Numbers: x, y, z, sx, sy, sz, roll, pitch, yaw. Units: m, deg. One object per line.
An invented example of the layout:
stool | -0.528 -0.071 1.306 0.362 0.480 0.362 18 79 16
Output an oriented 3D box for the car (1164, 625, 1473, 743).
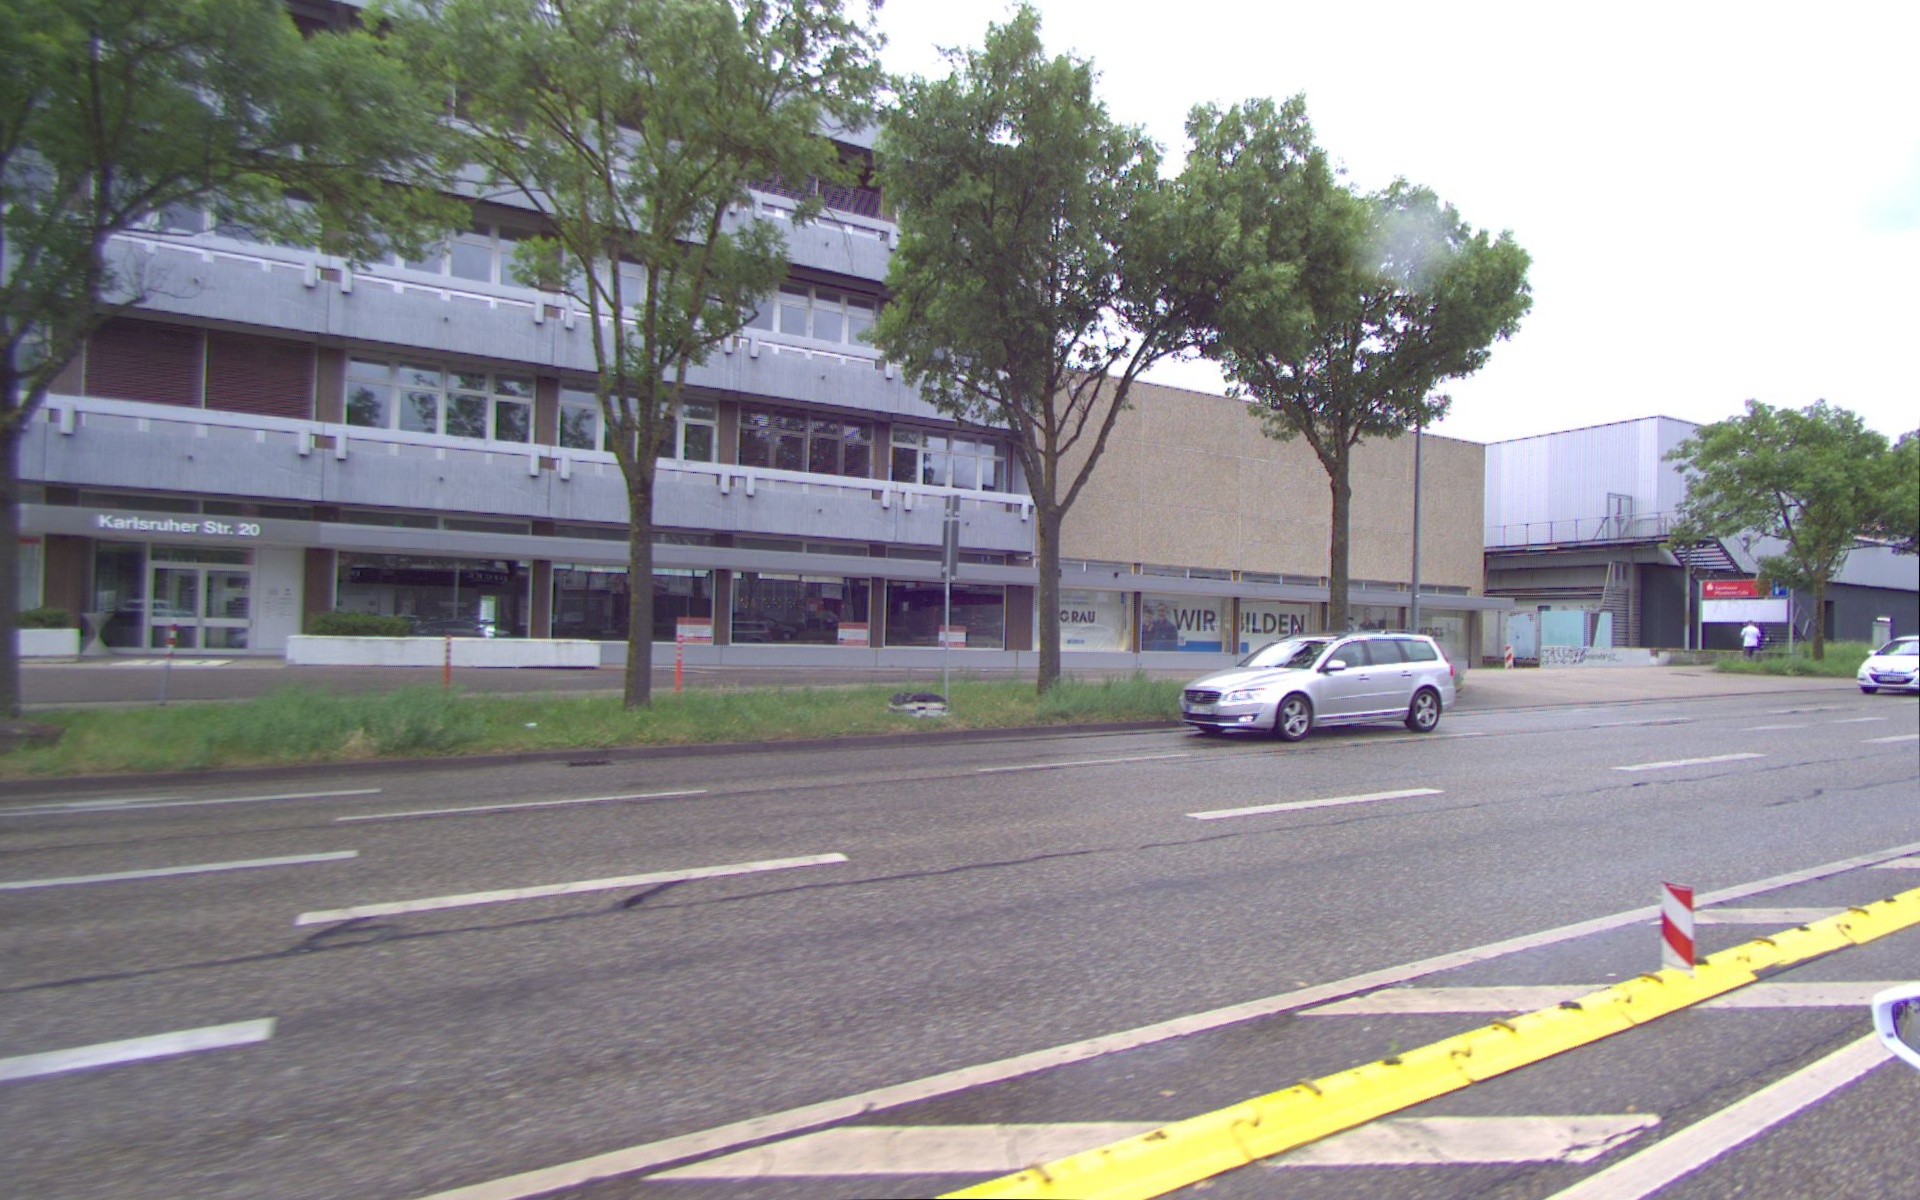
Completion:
car | 5.518 1.183 15.319 4.722 1.573 1.734 1 -3 -29

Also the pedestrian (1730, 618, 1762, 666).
pedestrian | 26.513 1.412 33.879 0.757 1.605 0.582 1 1 -27

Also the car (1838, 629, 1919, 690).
car | 24.006 1.459 25.042 4.414 1.424 1.734 1 -3 -29
